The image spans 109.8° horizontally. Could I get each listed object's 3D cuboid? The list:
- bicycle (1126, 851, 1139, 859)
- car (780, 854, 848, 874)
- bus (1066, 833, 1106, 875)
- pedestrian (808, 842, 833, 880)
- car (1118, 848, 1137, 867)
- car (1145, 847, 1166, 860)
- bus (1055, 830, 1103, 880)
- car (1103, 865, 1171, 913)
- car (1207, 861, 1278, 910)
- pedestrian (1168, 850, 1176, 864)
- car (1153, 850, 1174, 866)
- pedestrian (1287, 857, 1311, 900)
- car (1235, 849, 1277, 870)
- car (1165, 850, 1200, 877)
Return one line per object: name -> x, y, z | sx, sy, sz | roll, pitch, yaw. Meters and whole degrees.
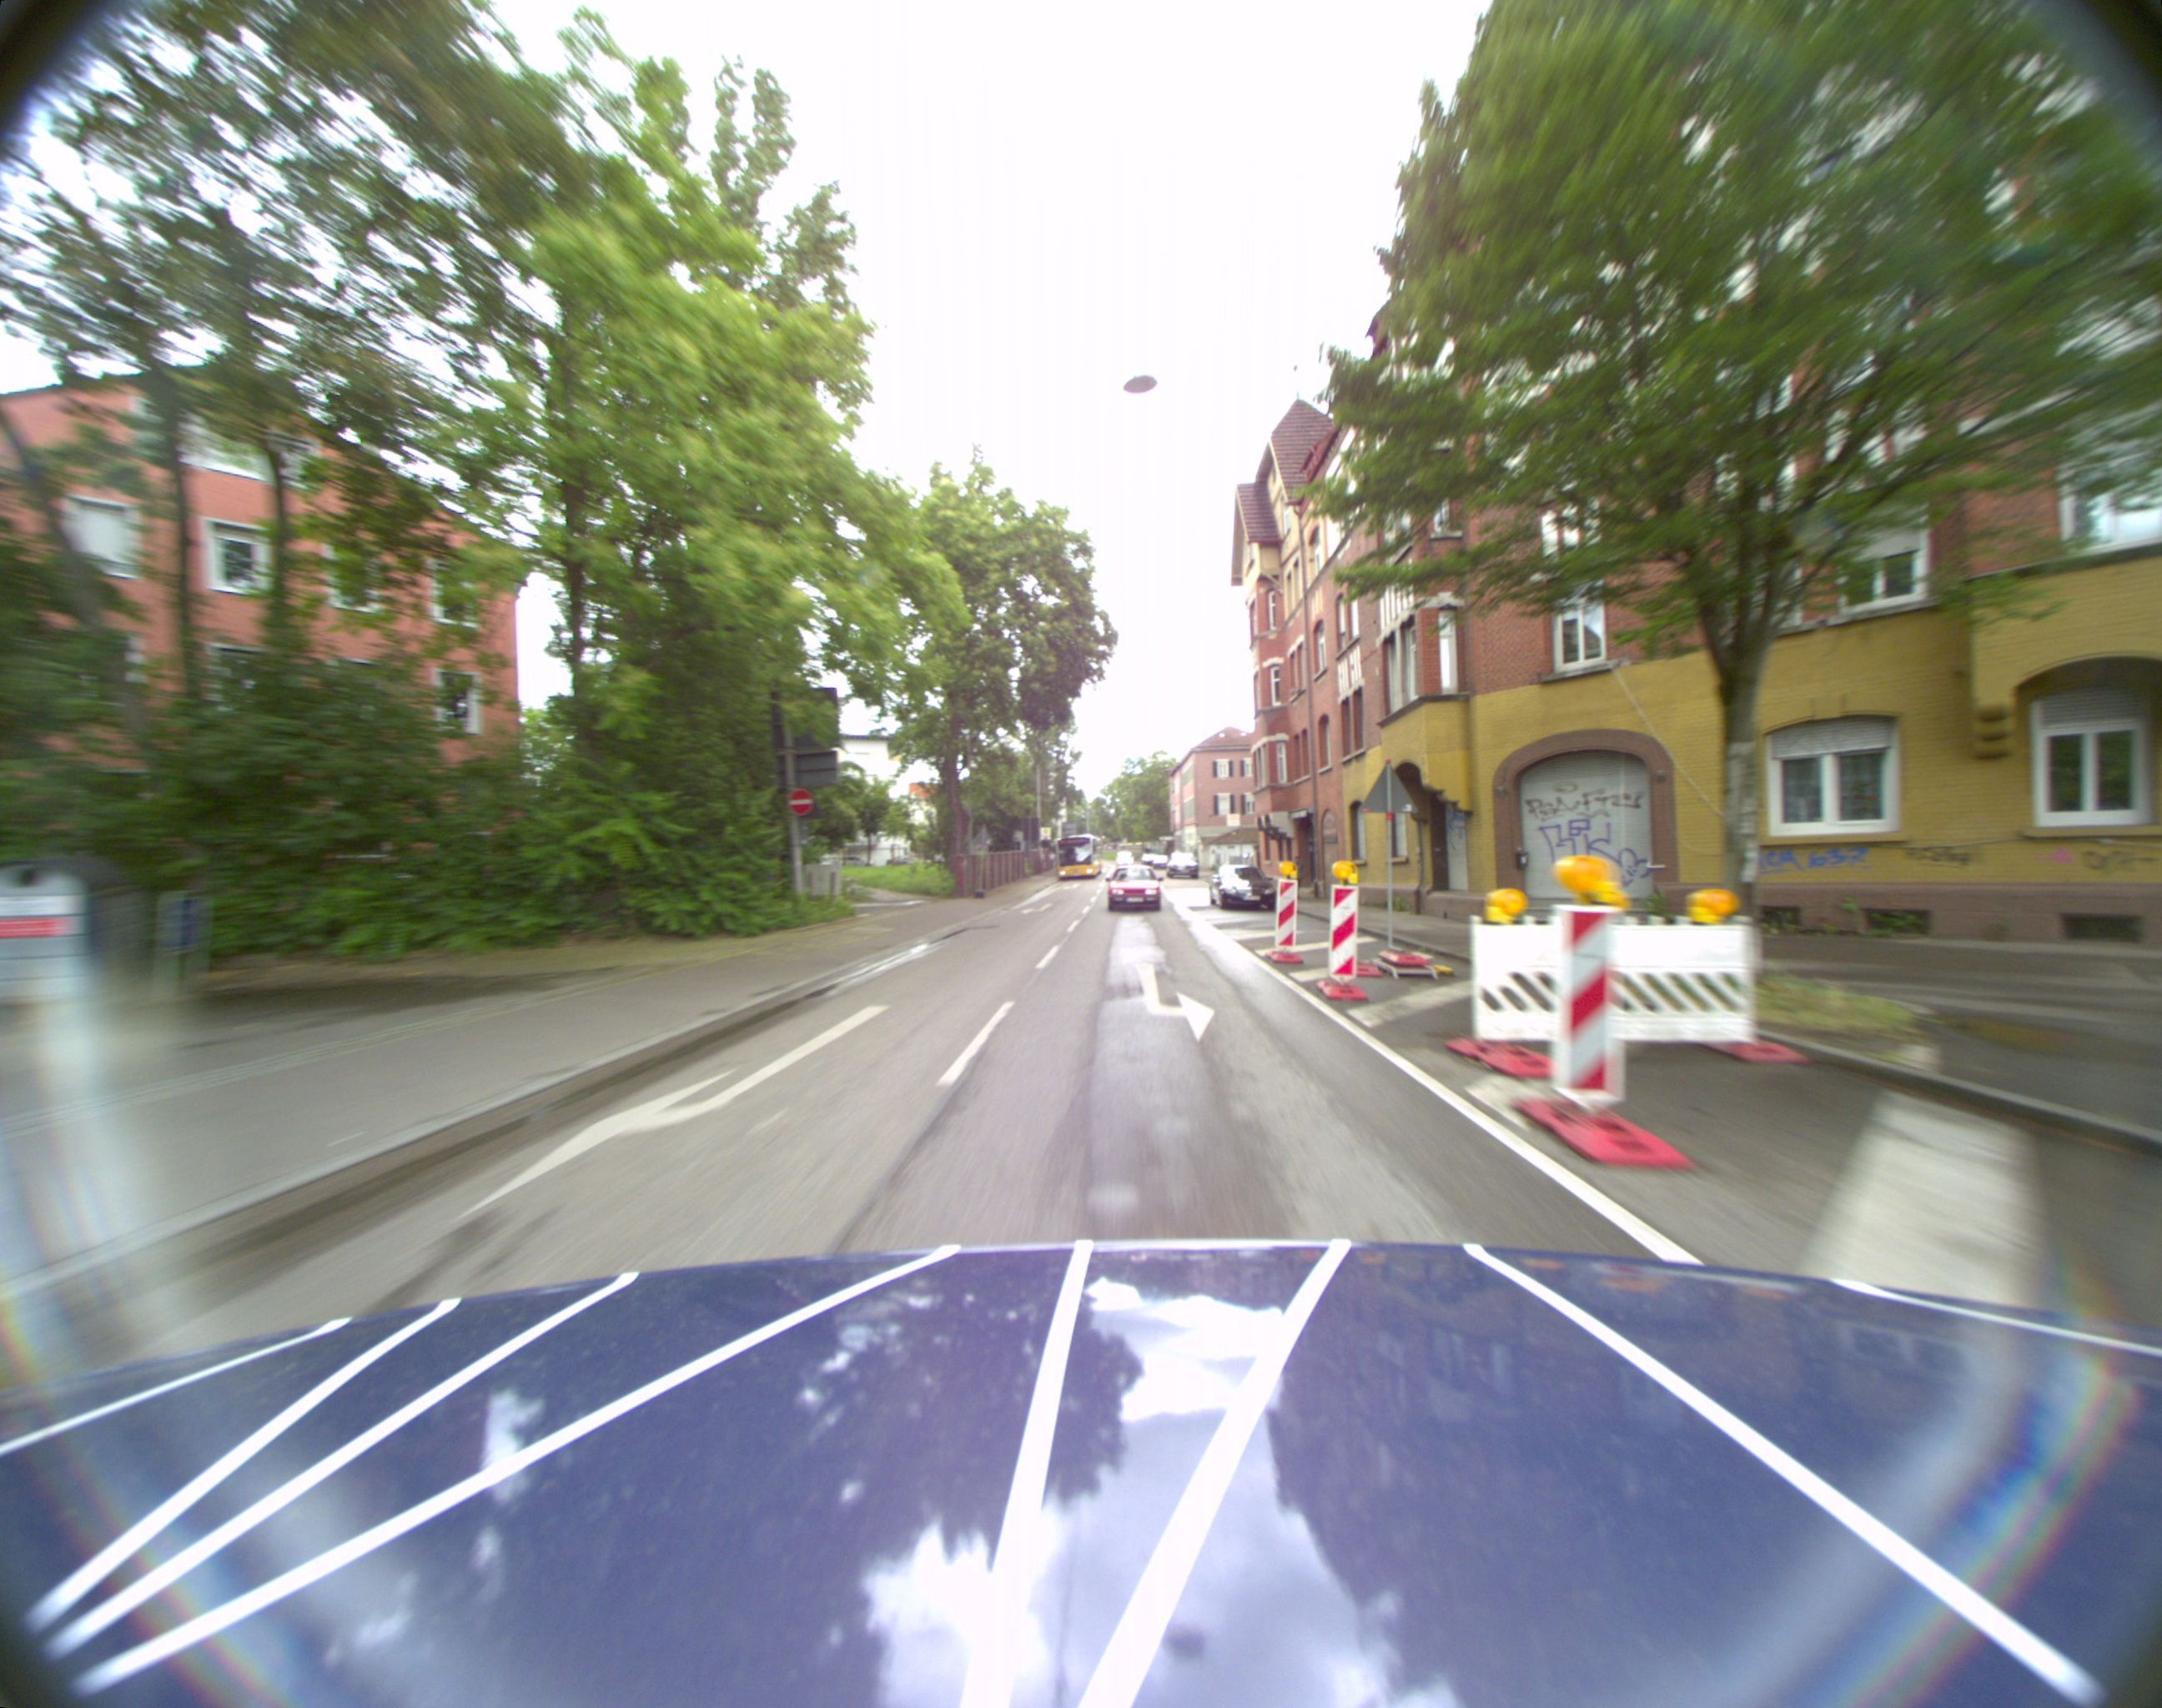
bicycle -> 8.188, 0.153, 120.684 | 1.809, 1.170, 0.723 | -4, 2, -22
car -> -23.420, 0.838, 66.701 | 5.565, 1.581, 1.995 | -1, 3, -21
bus -> 0.567, -0.054, 64.004 | 2.669, 3.118, 10.041 | -3, 0, 4
pedestrian -> -13.852, 0.373, 40.488 | 1.135, 2.002, 1.250 | 0, 2, -14
car -> 5.266, 0.360, 86.714 | 2.072, 1.776, 4.455 | -3, 4, 3
car -> 9.337, -0.102, 95.875 | 1.834, 1.446, 4.918 | -1, 1, -5
bus -> -0.021, 0.050, 54.384 | 2.678, 3.120, 9.219 | -3, 0, 4
car -> 1.749, 1.078, 25.056 | 1.850, 1.414, 4.172 | 0, 0, -1
car -> 5.392, 1.020, 25.859 | 1.728, 1.477, 4.392 | -2, -1, 4
pedestrian -> 11.457, 0.415, 95.343 | 0.763, 1.733, 0.985 | -3, 0, 1
car -> 8.579, 0.350, 79.469 | 1.882, 1.477, 4.127 | -3, 1, 3
pedestrian -> 8.303, 0.919, 28.936 | 0.661, 1.600, 0.632 | -3, 0, 4
car -> 13.312, 0.405, 58.033 | 2.853, 1.556, 1.853 | 0, 1, 4
car -> 6.887, 0.630, 51.881 | 1.958, 1.723, 4.774 | -1, 0, 3
